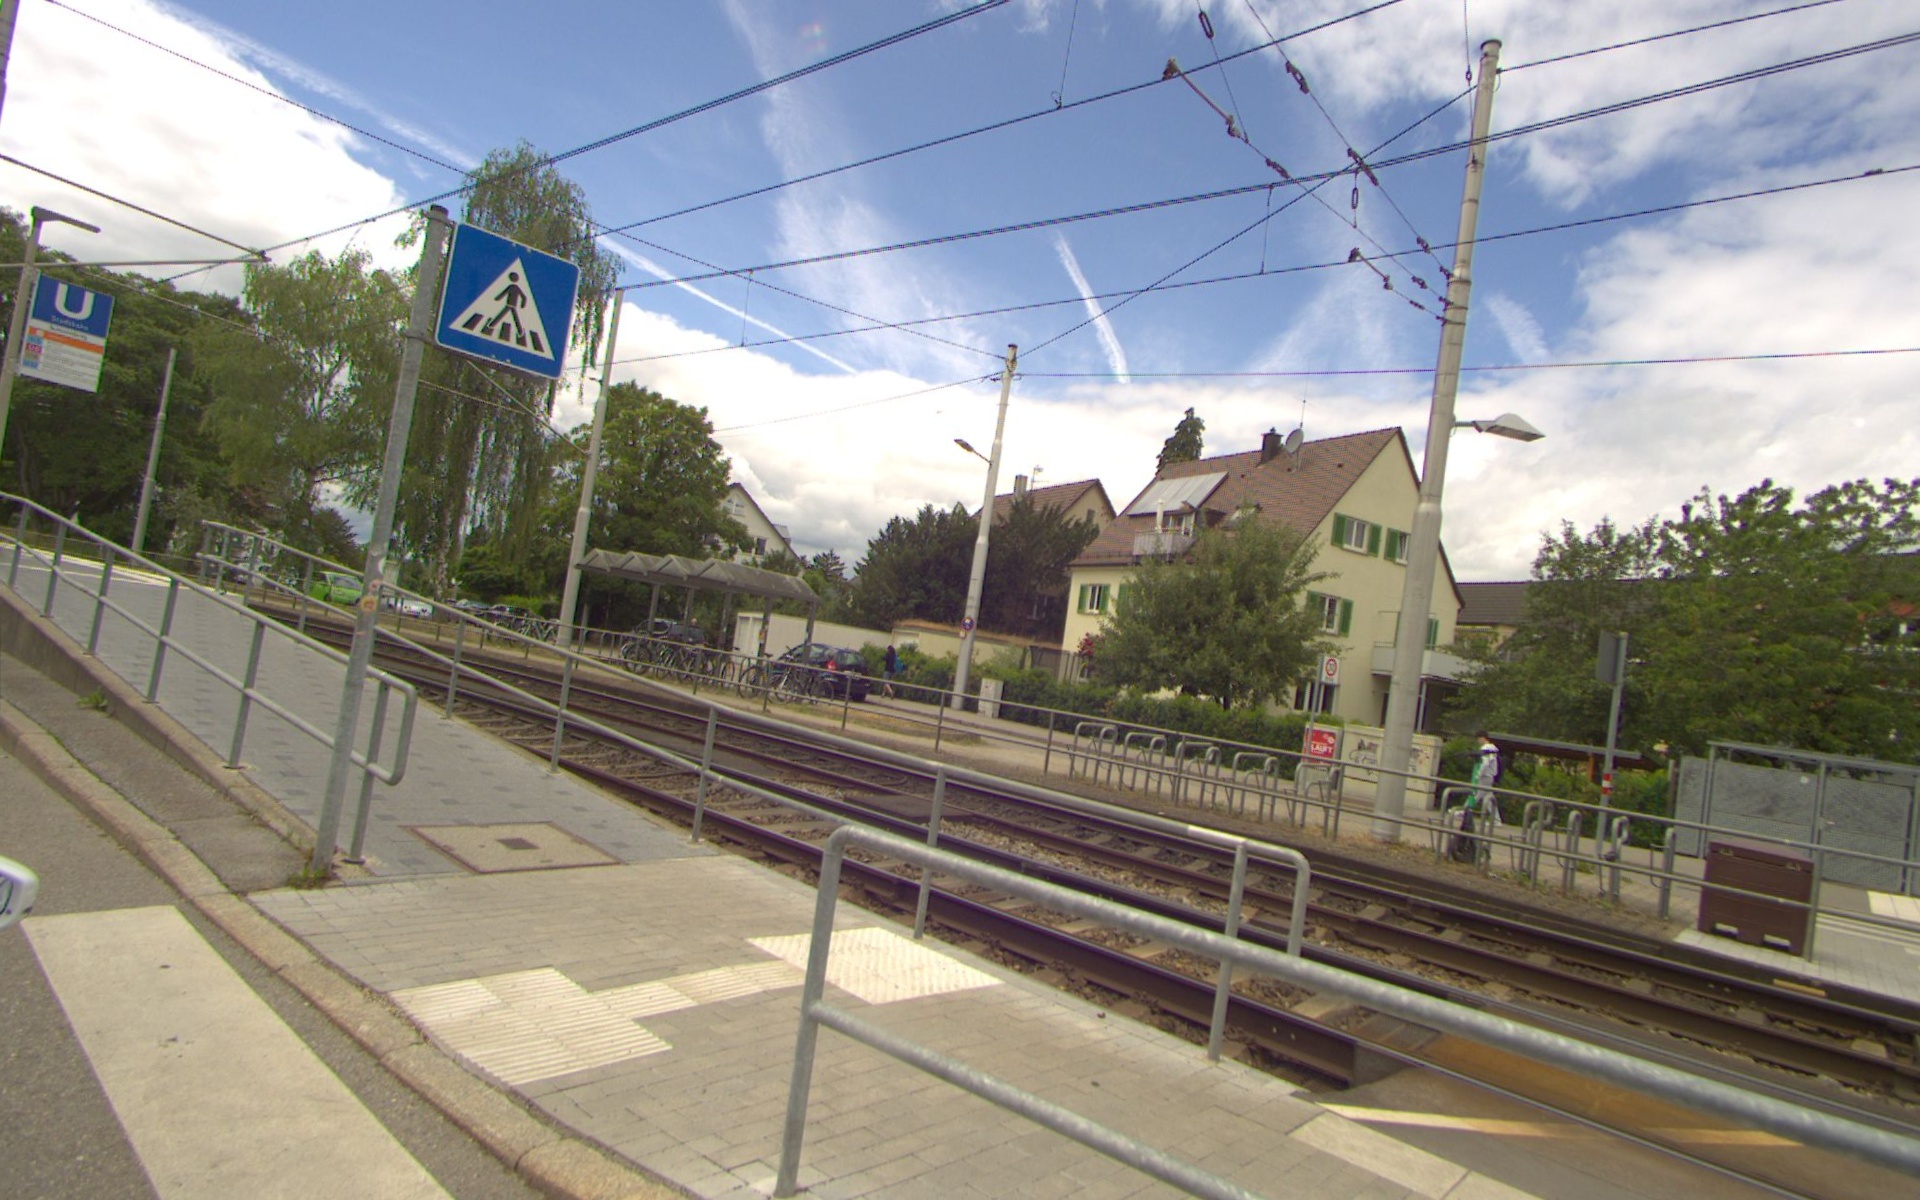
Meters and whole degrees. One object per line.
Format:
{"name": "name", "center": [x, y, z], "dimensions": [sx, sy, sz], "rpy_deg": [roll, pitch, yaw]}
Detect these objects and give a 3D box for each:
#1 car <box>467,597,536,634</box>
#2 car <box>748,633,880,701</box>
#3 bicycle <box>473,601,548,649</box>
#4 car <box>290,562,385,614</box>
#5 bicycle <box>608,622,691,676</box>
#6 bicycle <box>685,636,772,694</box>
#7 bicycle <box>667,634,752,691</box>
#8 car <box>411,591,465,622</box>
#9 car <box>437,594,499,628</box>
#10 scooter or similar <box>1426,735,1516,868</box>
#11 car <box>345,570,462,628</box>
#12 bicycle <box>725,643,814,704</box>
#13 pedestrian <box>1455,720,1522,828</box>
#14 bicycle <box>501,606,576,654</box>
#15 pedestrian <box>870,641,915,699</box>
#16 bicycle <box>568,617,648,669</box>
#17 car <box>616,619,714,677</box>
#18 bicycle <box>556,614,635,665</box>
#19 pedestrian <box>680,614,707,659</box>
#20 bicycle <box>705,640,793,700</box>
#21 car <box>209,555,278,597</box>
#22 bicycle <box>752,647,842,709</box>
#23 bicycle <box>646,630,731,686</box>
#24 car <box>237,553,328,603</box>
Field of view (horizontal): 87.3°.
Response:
{"name": "car", "center": [-24.261, 0.797, 53.182], "dimensions": [1.752, 1.504, 4.872], "rpy_deg": [10, -5, -42]}
{"name": "car", "center": [-4.660, 2.068, 31.686], "dimensions": [1.812, 1.502, 4.369], "rpy_deg": [11, -5, -43]}
{"name": "bicycle", "center": [-12.244, 0.699, 27.463], "dimensions": [0.547, 1.052, 1.771], "rpy_deg": [7, -4, 30]}
{"name": "car", "center": [-25.396, -0.492, 41.013], "dimensions": [3.937, 1.591, 1.734], "rpy_deg": [6, -4, 35]}
{"name": "bicycle", "center": [-7.478, 1.206, 24.310], "dimensions": [0.549, 1.052, 1.766], "rpy_deg": [6, -5, 41]}
{"name": "bicycle", "center": [-5.102, 1.449, 22.253], "dimensions": [0.549, 1.052, 1.766], "rpy_deg": [6, -5, 41]}
{"name": "bicycle", "center": [-5.633, 1.426, 22.713], "dimensions": [0.549, 1.052, 1.766], "rpy_deg": [6, -5, 41]}
{"name": "car", "center": [-31.949, 0.410, 61.555], "dimensions": [1.754, 1.504, 3.853], "rpy_deg": [10, -5, -44]}
{"name": "car", "center": [-28.072, 0.610, 57.344], "dimensions": [1.752, 1.504, 4.643], "rpy_deg": [10, -5, -42]}
{"name": "scooter or similar", "center": [5.700, 2.231, 11.199], "dimensions": [0.483, 1.330, 1.047], "rpy_deg": [8, -2, 42]}
{"name": "car", "center": [-21.051, -0.047, 38.023], "dimensions": [4.193, 1.590, 2.068], "rpy_deg": [6, -4, 35]}
{"name": "bicycle", "center": [-3.988, 1.566, 21.172], "dimensions": [0.549, 1.052, 1.766], "rpy_deg": [6, -5, 41]}
{"name": "pedestrian", "center": [10.325, 3.384, 19.686], "dimensions": [0.815, 1.936, 0.626], "rpy_deg": [8, -2, 17]}
{"name": "bicycle", "center": [-11.436, 0.819, 27.338], "dimensions": [0.548, 1.052, 1.770], "rpy_deg": [7, -4, 31]}
{"name": "pedestrian", "center": [-2.185, 2.259, 32.486], "dimensions": [0.934, 1.704, 0.810], "rpy_deg": [6, -3, 35]}
{"name": "bicycle", "center": [-8.882, 1.093, 25.446], "dimensions": [0.549, 1.052, 1.766], "rpy_deg": [6, -5, 41]}
{"name": "car", "center": [-11.665, 1.849, 39.576], "dimensions": [1.810, 1.653, 4.787], "rpy_deg": [11, -4, -39]}
{"name": "bicycle", "center": [-9.367, 1.038, 25.896], "dimensions": [0.549, 1.052, 1.766], "rpy_deg": [6, -5, 41]}
{"name": "pedestrian", "center": [-11.254, 1.545, 42.487], "dimensions": [0.815, 1.790, 0.682], "rpy_deg": [9, -3, -15]}
{"name": "bicycle", "center": [-4.519, 1.524, 21.639], "dimensions": [0.549, 1.052, 1.766], "rpy_deg": [6, -5, 41]}
{"name": "car", "center": [-33.504, -1.156, 46.977], "dimensions": [1.838, 1.504, 4.446], "rpy_deg": [11, -5, -44]}
{"name": "bicycle", "center": [-3.317, 1.603, 20.586], "dimensions": [0.549, 1.052, 1.766], "rpy_deg": [6, -5, 41]}
{"name": "bicycle", "center": [-6.274, 1.365, 23.327], "dimensions": [0.549, 1.052, 1.766], "rpy_deg": [6, -5, 41]}
{"name": "car", "center": [-29.480, -0.965, 43.754], "dimensions": [4.035, 1.591, 1.760], "rpy_deg": [6, -4, 35]}
